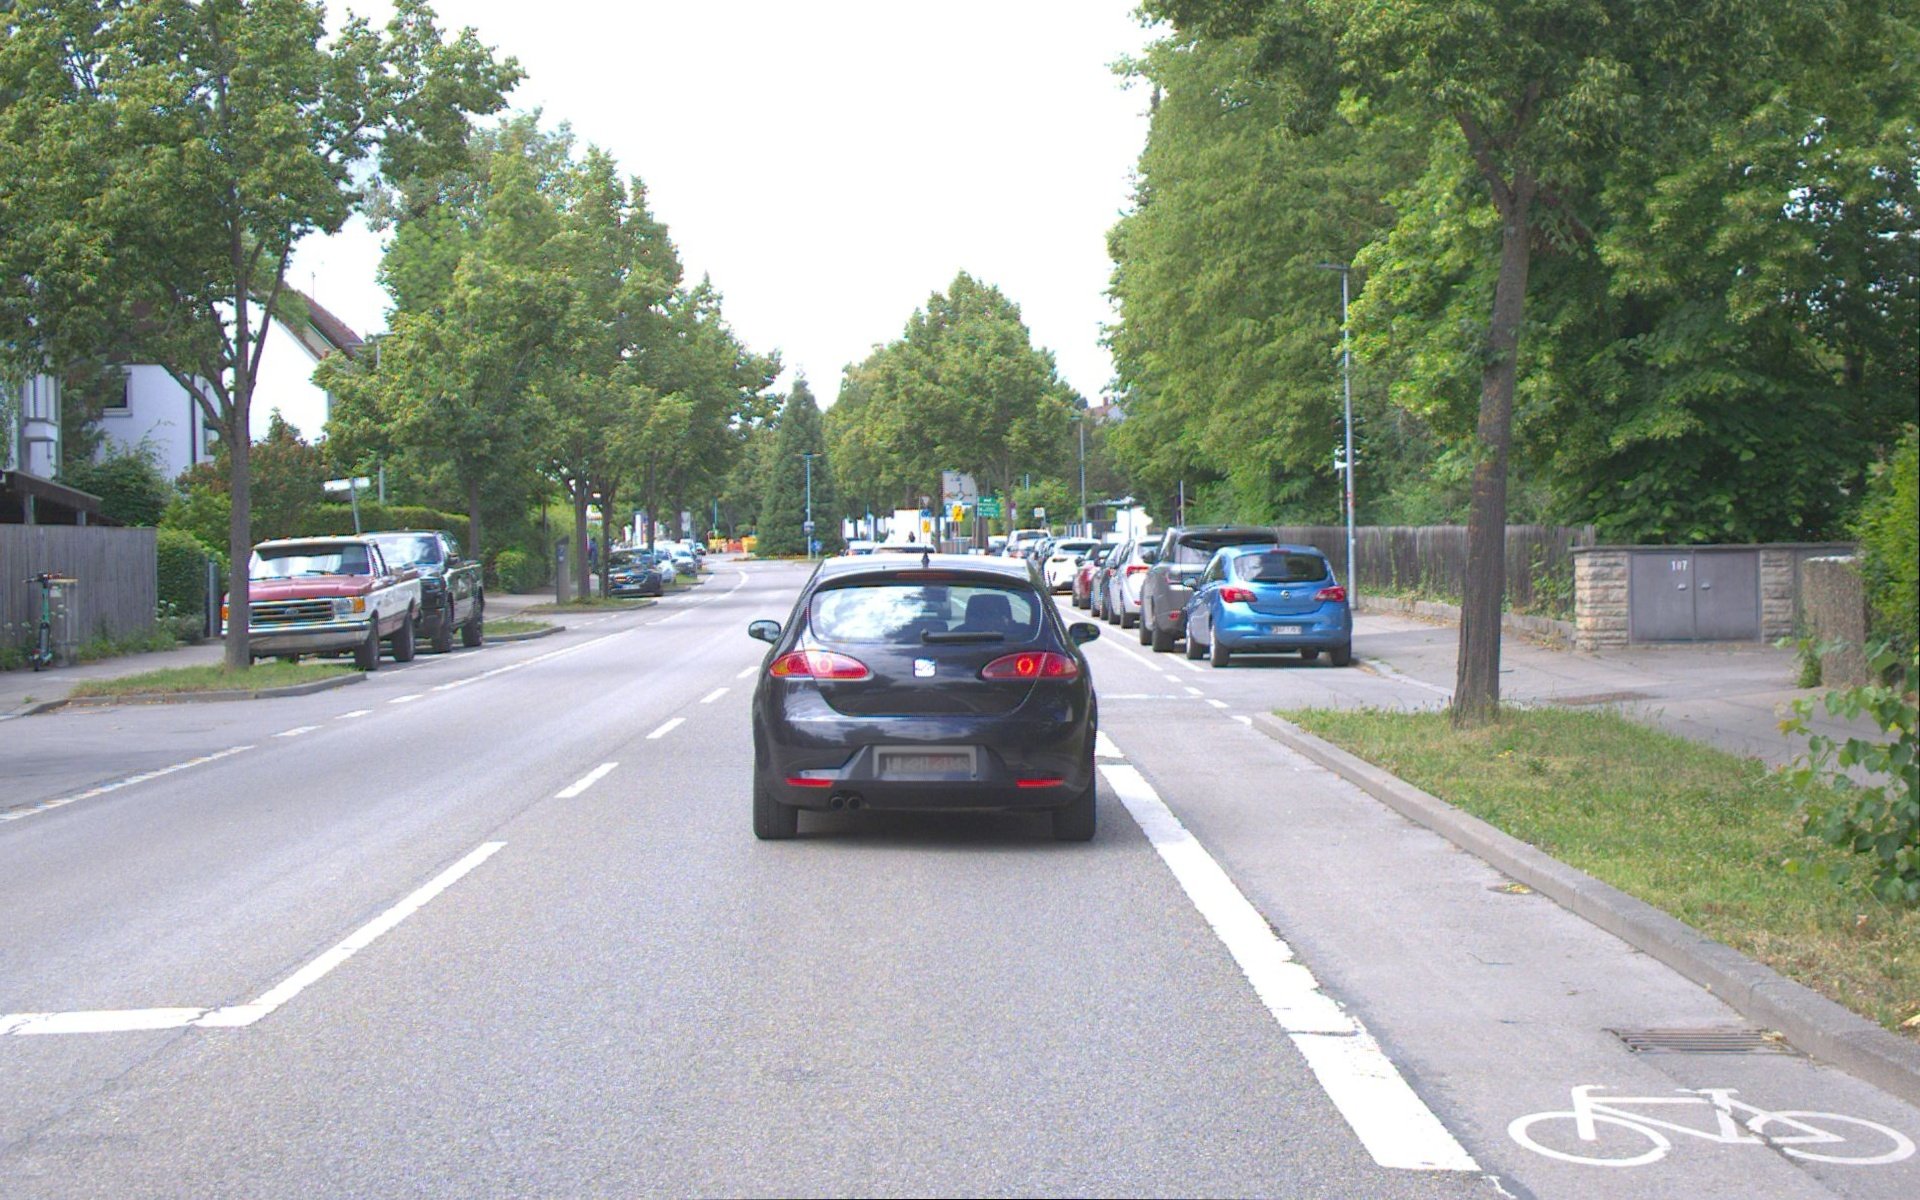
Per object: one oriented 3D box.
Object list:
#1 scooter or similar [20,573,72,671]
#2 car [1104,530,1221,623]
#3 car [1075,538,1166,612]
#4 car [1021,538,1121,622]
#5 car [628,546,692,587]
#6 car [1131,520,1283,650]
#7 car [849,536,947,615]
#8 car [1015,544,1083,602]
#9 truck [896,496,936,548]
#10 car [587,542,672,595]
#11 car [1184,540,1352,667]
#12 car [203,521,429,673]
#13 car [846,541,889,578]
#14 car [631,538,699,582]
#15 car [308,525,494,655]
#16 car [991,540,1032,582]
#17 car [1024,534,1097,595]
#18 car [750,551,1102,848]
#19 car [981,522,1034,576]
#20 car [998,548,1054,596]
[{"bbox_3d":[-11.786,0.275,44.365,0.387,1.225,1.499,-1,1,-5],"label":"scooter or similar"},{"bbox_3d":[3.514,-0.427,60.137,1.688,1.559,4.214,-1,1,-1],"label":"car"},{"bbox_3d":[3.486,-0.571,75.404,1.688,1.559,4.214,-1,1,-1],"label":"car"},{"bbox_3d":[2.124,-0.416,66.627,1.688,1.559,4.214,-1,1,-1],"label":"car"},{"bbox_3d":[-11.994,-1.357,137.777,2.100,1.501,5.784,-2,1,-1],"label":"car"},{"bbox_3d":[3.375,-0.231,47.654,1.688,1.706,4.214,-1,1,-1],"label":"car"},{"bbox_3d":[-1.207,-0.490,68.741,1.846,1.504,3.812,1,1,0],"label":"car"},{"bbox_3d":[2.490,-0.776,96.563,1.688,1.559,4.214,-1,1,-1],"label":"car"},{"bbox_3d":[-2.780,-4.881,217.086,2.278,3.093,8.511,1,0,-2],"label":"truck"},{"bbox_3d":[-10.056,-0.982,105.053,2.100,1.501,5.784,-2,1,-1],"label":"car"},{"bbox_3d":[3.768,0.016,42.549,1.688,1.485,3.355,-1,1,-1],"label":"car"},{"bbox_3d":[-8.824,-0.085,47.624,2.100,1.890,5.784,-2,1,-1],"label":"car"},{"bbox_3d":[-4.216,-1.861,157.079,1.881,1.683,4.214,-1,1,-1],"label":"car"},{"bbox_3d":[-10.932,-1.499,127.732,2.100,1.501,5.784,-2,1,-1],"label":"car"},{"bbox_3d":[-8.903,-0.199,55.288,2.100,1.890,5.784,-2,1,-1],"label":"car"},{"bbox_3d":[2.373,-1.813,158.399,1.688,1.869,4.214,-1,1,-1],"label":"car"},{"bbox_3d":[2.620,-0.957,90.775,1.688,1.559,4.214,-1,1,-1],"label":"car"},{"bbox_3d":[-0.247,0.457,18.364,1.662,1.396,3.812,1,1,-3],"label":"car"},{"bbox_3d":[1.679,-1.813,122.273,1.688,1.869,4.214,-1,1,-1],"label":"car"},{"bbox_3d":[2.192,-0.942,115.305,1.688,1.559,4.214,-1,1,-1],"label":"car"}]
